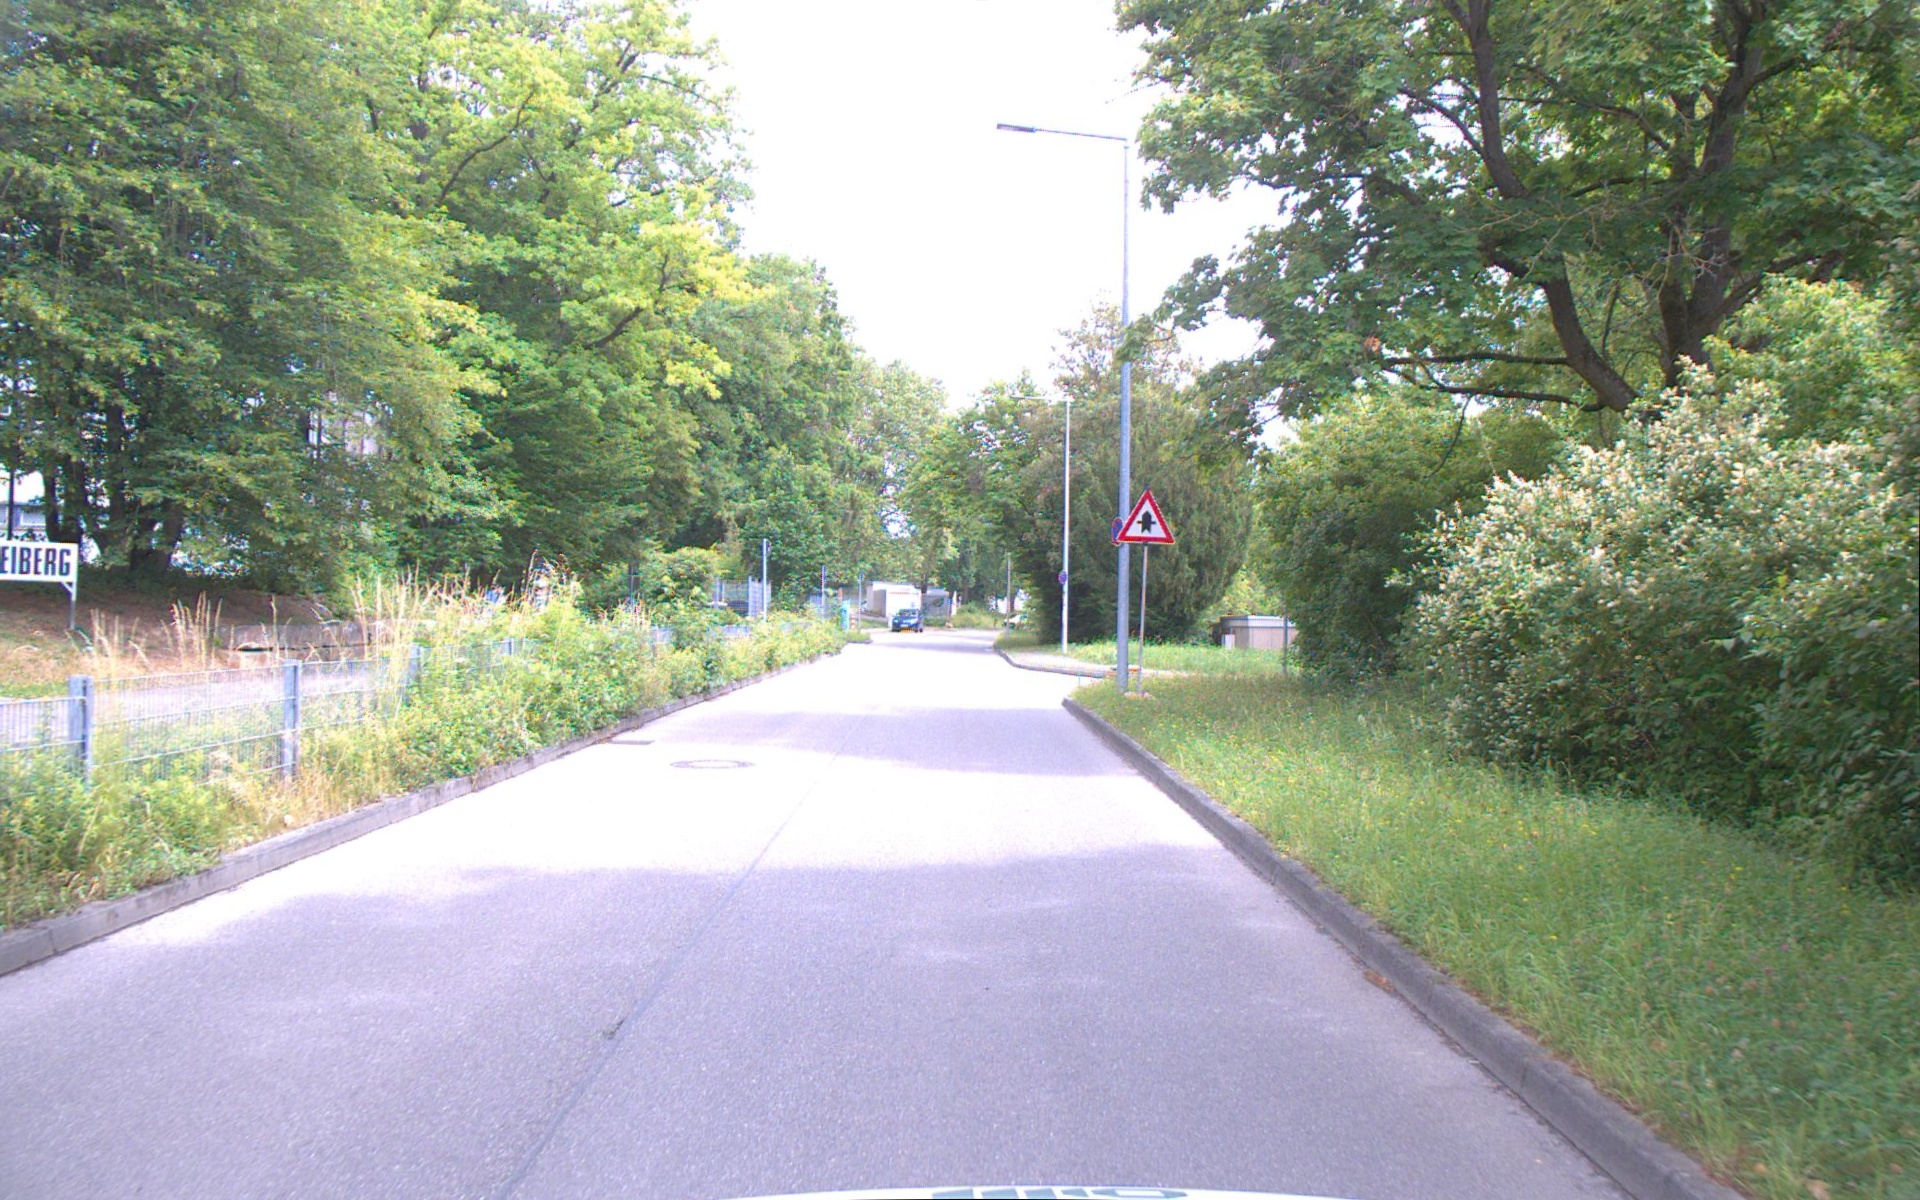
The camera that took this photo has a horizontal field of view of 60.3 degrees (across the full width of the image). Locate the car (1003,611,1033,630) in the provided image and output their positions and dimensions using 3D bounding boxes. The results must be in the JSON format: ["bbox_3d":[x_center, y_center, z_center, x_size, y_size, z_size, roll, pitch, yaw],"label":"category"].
[{"bbox_3d":[5.127,1.831,144.928,1.820,1.518,4.002,-2,-3,14],"label":"car"}]

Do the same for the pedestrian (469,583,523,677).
[{"bbox_3d":[-10.364,0.686,36.916,0.861,2.049,0.864,2,-4,-45],"label":"pedestrian"}]

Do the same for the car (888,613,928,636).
[{"bbox_3d":[-3.371,1.556,107.313,1.937,1.408,4.003,2,0,7],"label":"car"}]
